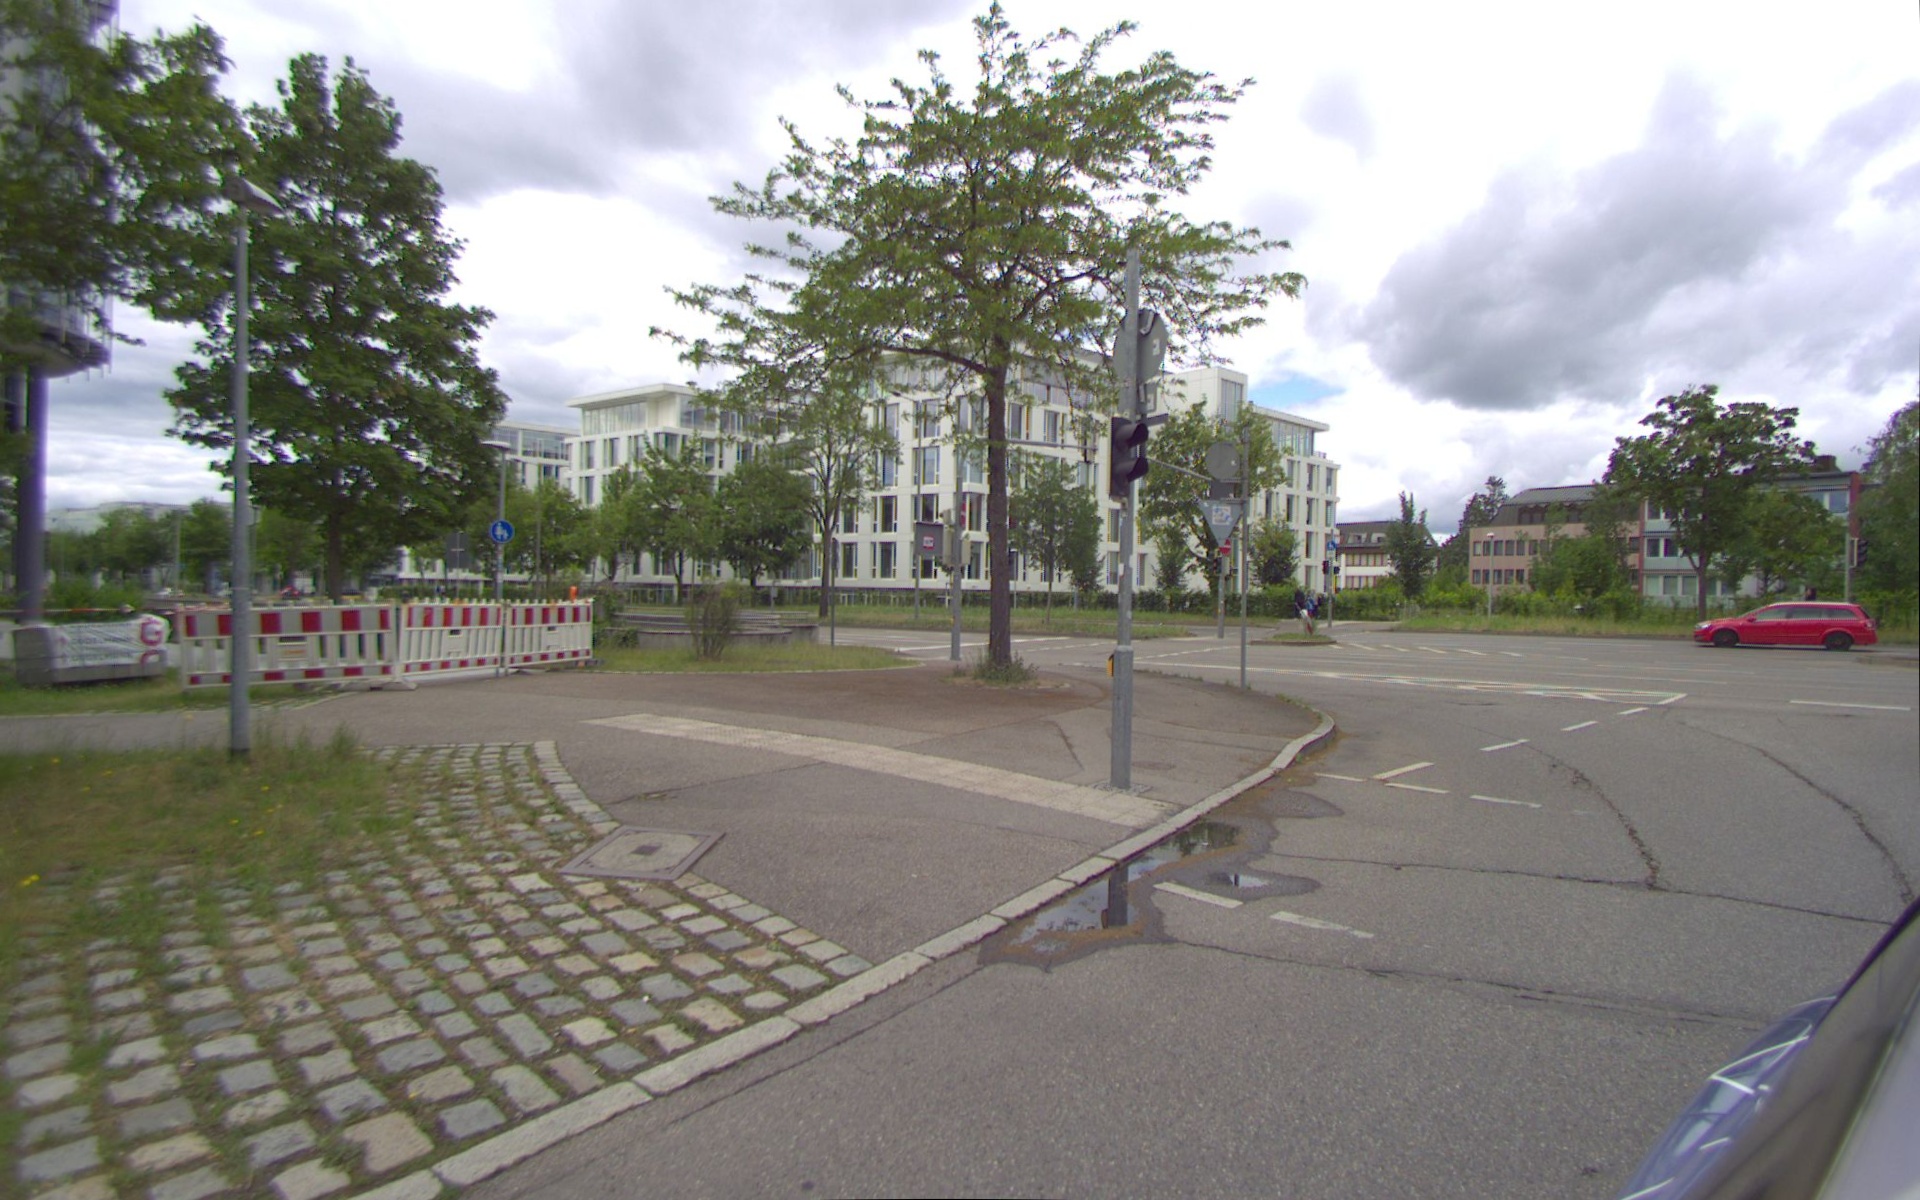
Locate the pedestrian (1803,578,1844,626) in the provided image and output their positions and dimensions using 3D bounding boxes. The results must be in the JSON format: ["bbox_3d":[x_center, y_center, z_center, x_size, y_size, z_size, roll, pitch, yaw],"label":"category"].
[{"bbox_3d":[31.419,0.074,36.848,0.995,1.718,0.601,-1,-3,31],"label":"pedestrian"}]

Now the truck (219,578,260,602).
[{"bbox_3d":[-79.373,-1.074,111.421,4.565,2.407,2.526,-2,-3,39],"label":"truck"}]

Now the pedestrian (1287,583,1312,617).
[{"bbox_3d":[16.697,0.013,49.797,0.718,1.647,1.036,1,-3,-17],"label":"pedestrian"}]

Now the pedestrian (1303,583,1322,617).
[{"bbox_3d":[17.383,0.022,49.941,0.554,1.647,0.709,1,-3,-20],"label":"pedestrian"}]

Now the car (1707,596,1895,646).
[{"bbox_3d":[25.734,0.593,31.107,4.338,1.441,1.970,0,0,42],"label":"car"}]

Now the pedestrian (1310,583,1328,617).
[{"bbox_3d":[17.971,0.003,50.663,0.676,1.647,0.660,0,-3,6],"label":"pedestrian"}]

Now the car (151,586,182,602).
[{"bbox_3d":[-96.179,-0.705,122.665,3.858,1.695,1.853,-1,-3,34],"label":"car"}]
